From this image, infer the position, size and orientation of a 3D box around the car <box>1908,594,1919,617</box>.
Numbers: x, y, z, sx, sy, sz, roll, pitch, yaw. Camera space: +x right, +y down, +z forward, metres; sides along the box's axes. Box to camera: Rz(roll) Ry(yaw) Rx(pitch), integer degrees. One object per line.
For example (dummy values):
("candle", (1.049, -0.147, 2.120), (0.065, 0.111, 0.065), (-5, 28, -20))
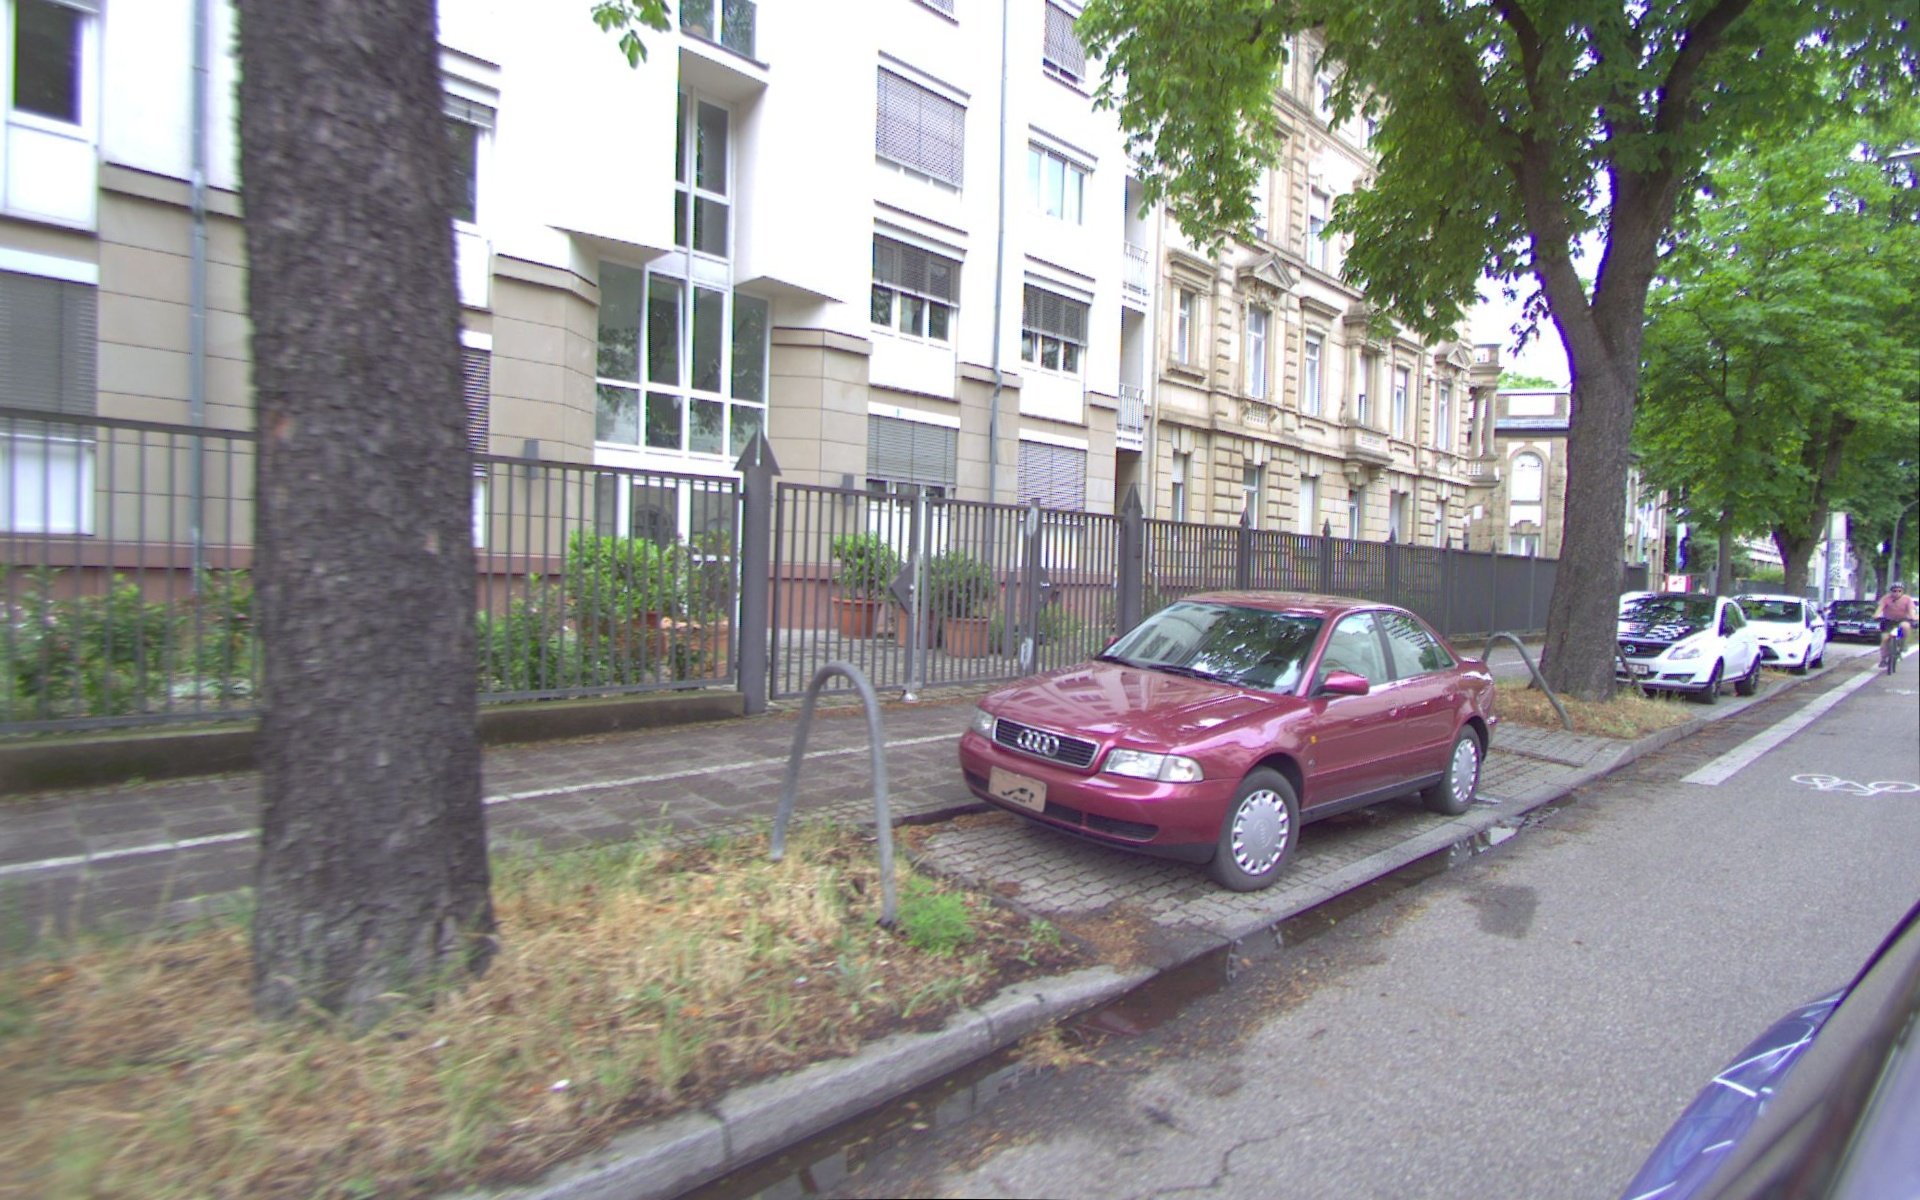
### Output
("car", (59.225, 0.363, 61.813), (3.772, 1.386, 1.605), (0, 4, -43))

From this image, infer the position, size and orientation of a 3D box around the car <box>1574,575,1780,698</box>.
("car", (10.357, 0.446, 14.526), (3.712, 1.453, 1.605), (0, 4, -43))

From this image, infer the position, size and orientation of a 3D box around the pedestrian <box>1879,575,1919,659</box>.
("pedestrian", (18.317, 0.317, 19.584), (0.692, 1.569, 0.683), (0, 2, -43))

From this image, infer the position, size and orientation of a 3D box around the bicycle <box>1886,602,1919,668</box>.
("bicycle", (18.410, 0.662, 19.696), (1.678, 1.219, 0.413), (0, 2, -43))

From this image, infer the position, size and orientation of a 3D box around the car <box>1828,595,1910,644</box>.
("car", (29.499, 0.583, 32.804), (3.772, 1.386, 1.605), (0, 4, -43))

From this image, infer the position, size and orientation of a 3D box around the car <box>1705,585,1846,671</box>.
("car", (16.300, 0.492, 20.163), (3.701, 1.453, 1.630), (0, 4, -43))

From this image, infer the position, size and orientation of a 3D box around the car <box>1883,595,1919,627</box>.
("car", (45.304, 0.507, 48.232), (3.772, 1.386, 1.605), (0, 4, -43))

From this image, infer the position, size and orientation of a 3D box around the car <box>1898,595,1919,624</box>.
("car", (50.584, 0.513, 53.154), (3.772, 1.442, 1.605), (0, 4, -43))

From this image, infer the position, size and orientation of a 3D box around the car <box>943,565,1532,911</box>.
("car", (1.990, 0.577, 6.385), (4.156, 1.415, 1.605), (0, 4, -44))
